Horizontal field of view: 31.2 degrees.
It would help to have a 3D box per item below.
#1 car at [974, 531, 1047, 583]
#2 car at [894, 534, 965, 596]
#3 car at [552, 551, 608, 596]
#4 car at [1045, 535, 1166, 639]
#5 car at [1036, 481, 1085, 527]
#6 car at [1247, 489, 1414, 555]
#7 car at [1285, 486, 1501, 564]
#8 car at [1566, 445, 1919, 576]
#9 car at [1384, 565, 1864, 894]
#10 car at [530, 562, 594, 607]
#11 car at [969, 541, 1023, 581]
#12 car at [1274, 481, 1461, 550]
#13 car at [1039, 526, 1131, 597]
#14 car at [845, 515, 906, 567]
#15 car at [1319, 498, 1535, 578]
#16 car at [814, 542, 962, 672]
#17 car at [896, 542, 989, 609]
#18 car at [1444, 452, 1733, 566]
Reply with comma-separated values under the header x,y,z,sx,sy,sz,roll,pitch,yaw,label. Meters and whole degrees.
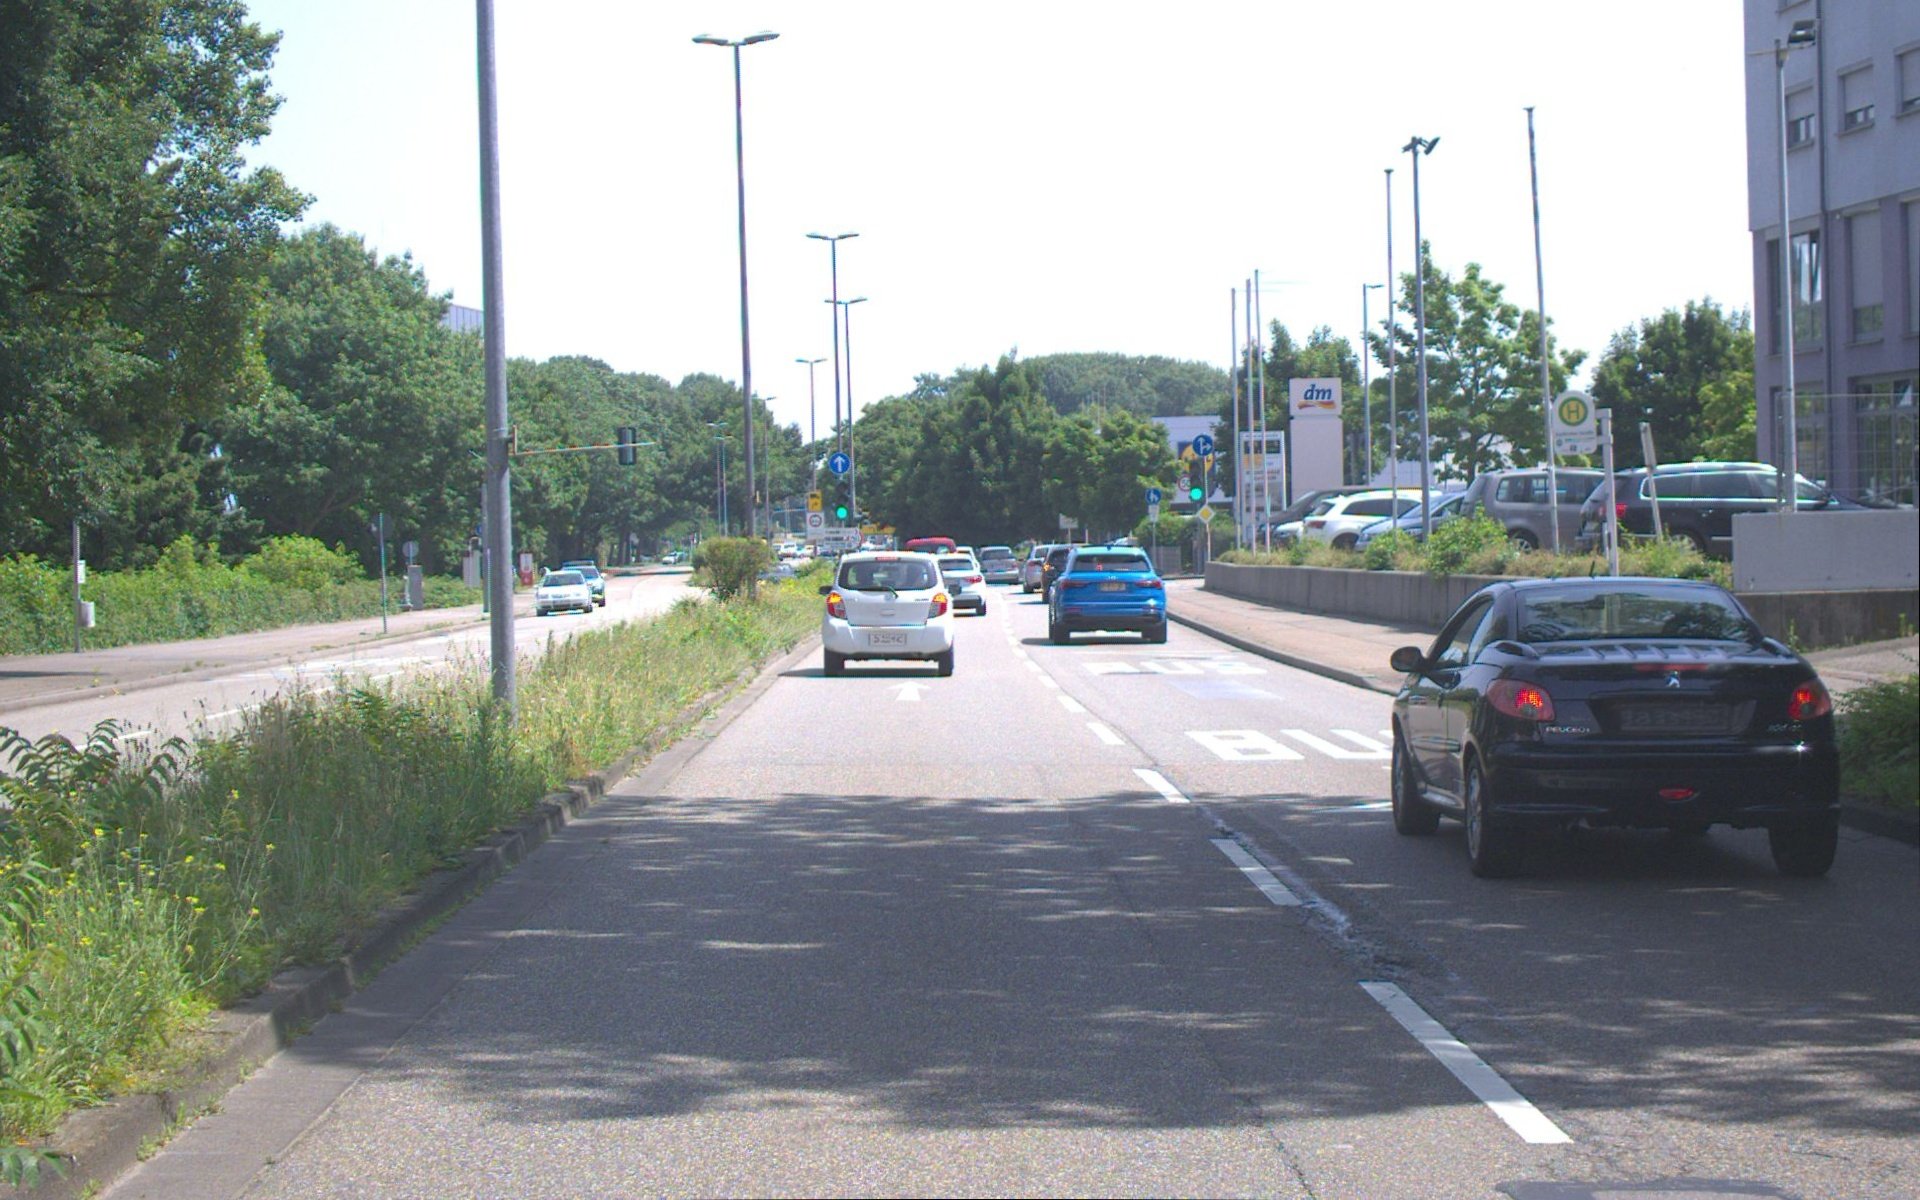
x,y,z,sx,sy,sz,roll,pitch,yaw,label
1.488,-1.288,102.289,1.993,1.415,4.000,-2,1,-1,car
-0.904,-1.023,99.710,1.775,1.734,4.001,-2,1,-4,car
-14.427,-1.022,130.585,1.856,1.591,4.317,-2,1,-4,car
2.378,-0.243,56.915,1.828,1.575,3.606,-1,2,0,car
4.592,-4.390,157.248,1.769,2.006,3.992,-2,2,-4,car
9.566,-2.008,88.948,3.986,1.539,2.000,-2,1,-2,car
9.735,-1.686,77.520,4.535,1.539,2.000,-2,1,-1,car
10.732,-1.212,46.921,4.499,1.577,2.000,-2,1,-1,car
3.122,0.549,16.815,1.627,1.359,3.606,0,2,0,car
-13.048,-0.524,112.985,1.736,1.408,4.372,-2,1,-2,car
1.420,-1.581,138.778,1.993,1.503,4.000,-2,1,-1,car
10.184,-2.109,86.118,4.346,1.539,2.000,-2,1,-2,car
3.073,-0.965,85.124,1.993,1.634,4.000,-2,1,-1,car
-2.918,-2.053,117.962,1.819,1.656,4.001,-2,2,-5,car
9.456,-1.250,69.560,3.920,1.447,1.765,-3,1,-22,car
-0.869,0.052,43.462,1.748,1.515,3.746,0,2,1,car
-0.421,-0.576,78.426,1.993,1.437,4.000,-2,1,-1,car
10.139,-1.462,55.649,4.226,1.641,2.000,-2,1,-1,car
